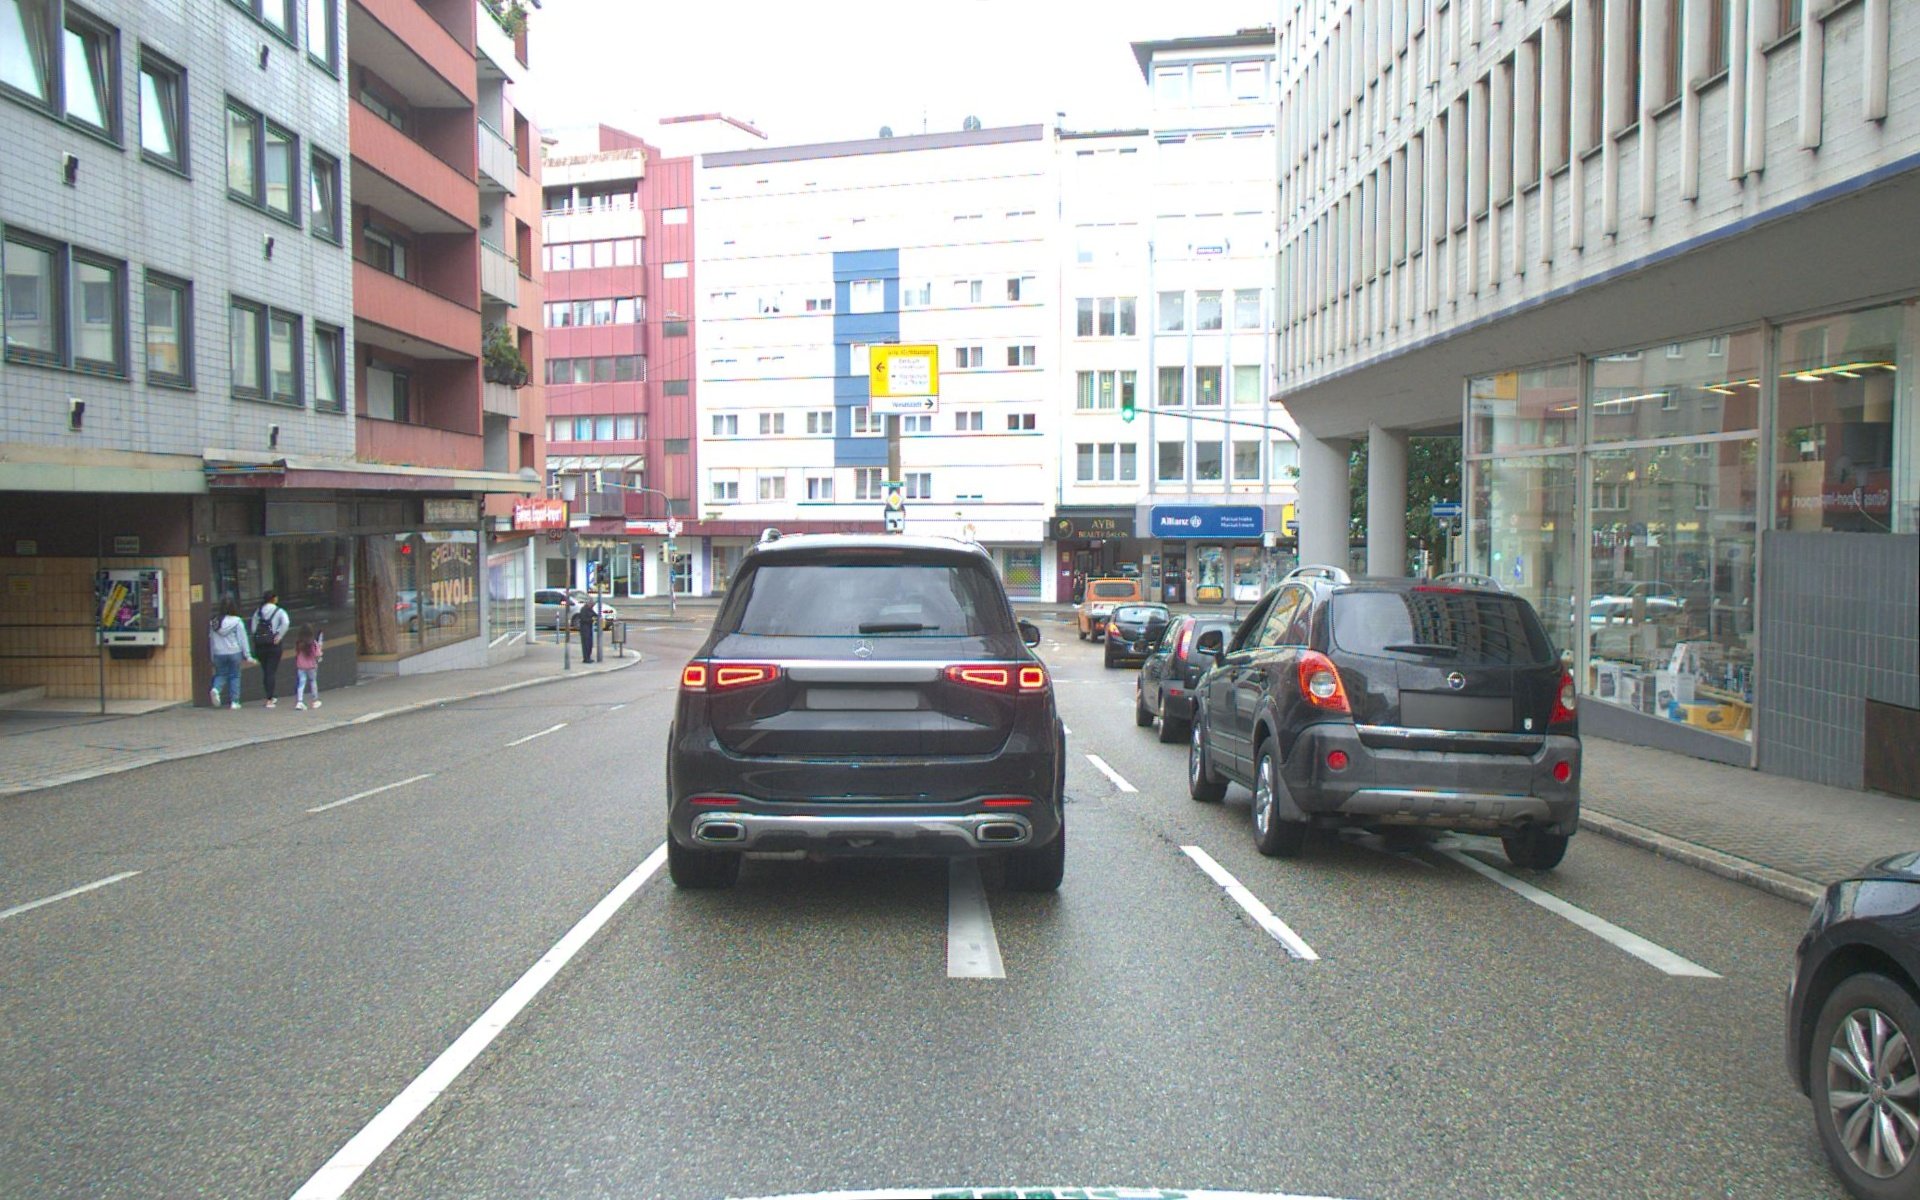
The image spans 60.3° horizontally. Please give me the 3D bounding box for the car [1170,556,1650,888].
[{"bbox_3d":[2.745,0.658,11.263,1.859,1.724,4.504,3,0,-2],"label":"car"}]

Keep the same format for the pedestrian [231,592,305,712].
[{"bbox_3d":[-10.191,0.757,24.379,0.812,1.719,0.722,2,0,-10],"label":"pedestrian"}]

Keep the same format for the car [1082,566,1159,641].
[{"bbox_3d":[5.129,0.122,53.494,2.195,2.267,5.430,1,0,3],"label":"car"}]

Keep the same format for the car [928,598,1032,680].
[{"bbox_3d":[0.363,0.741,33.615,1.953,1.512,4.236,-1,0,-1],"label":"car"}]

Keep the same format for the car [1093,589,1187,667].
[{"bbox_3d":[4.163,0.642,38.849,1.785,1.687,4.495,1,-1,1],"label":"car"}]

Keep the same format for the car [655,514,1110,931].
[{"bbox_3d":[-0.427,0.541,9.708,1.998,1.830,4.661,1,0,-2],"label":"car"}]

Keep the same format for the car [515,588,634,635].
[{"bbox_3d":[-14.976,0.427,64.304,4.073,1.620,1.742,2,0,9],"label":"car"}]

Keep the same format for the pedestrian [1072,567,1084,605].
[{"bbox_3d":[5.545,-0.662,77.630,0.552,1.717,0.757,0,6,5],"label":"pedestrian"}]

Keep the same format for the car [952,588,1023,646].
[{"bbox_3d":[0.761,0.532,48.805,1.885,1.542,4.661,2,-1,-1],"label":"car"}]

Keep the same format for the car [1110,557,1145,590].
[{"bbox_3d":[9.101,-1.410,89.694,1.759,1.699,4.003,-1,0,8],"label":"car"}]

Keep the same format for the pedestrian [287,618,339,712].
[{"bbox_3d":[-9.518,0.951,24.342,0.523,1.346,0.722,2,0,-9],"label":"pedestrian"}]

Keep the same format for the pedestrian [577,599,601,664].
[{"bbox_3d":[-9.925,0.829,44.260,0.543,1.727,0.623,0,0,-4],"label":"pedestrian"}]

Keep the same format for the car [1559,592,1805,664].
[{"bbox_3d":[16.142,0.584,37.114,4.763,1.521,1.847,0,0,41],"label":"car"}]

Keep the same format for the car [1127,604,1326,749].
[{"bbox_3d":[3.054,0.827,19.708,1.730,1.421,4.001,3,0,1],"label":"car"}]

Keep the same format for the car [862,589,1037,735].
[{"bbox_3d":[-0.193,0.653,19.762,1.836,1.521,4.398,1,0,-2],"label":"car"}]

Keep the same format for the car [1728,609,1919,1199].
[{"bbox_3d":[3.262,0.831,3.055,1.655,1.503,3.998,3,0,-2],"label":"car"}]

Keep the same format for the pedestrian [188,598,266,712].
[{"bbox_3d":[-10.443,0.775,23.590,0.812,1.588,0.722,2,0,-10],"label":"pedestrian"}]
